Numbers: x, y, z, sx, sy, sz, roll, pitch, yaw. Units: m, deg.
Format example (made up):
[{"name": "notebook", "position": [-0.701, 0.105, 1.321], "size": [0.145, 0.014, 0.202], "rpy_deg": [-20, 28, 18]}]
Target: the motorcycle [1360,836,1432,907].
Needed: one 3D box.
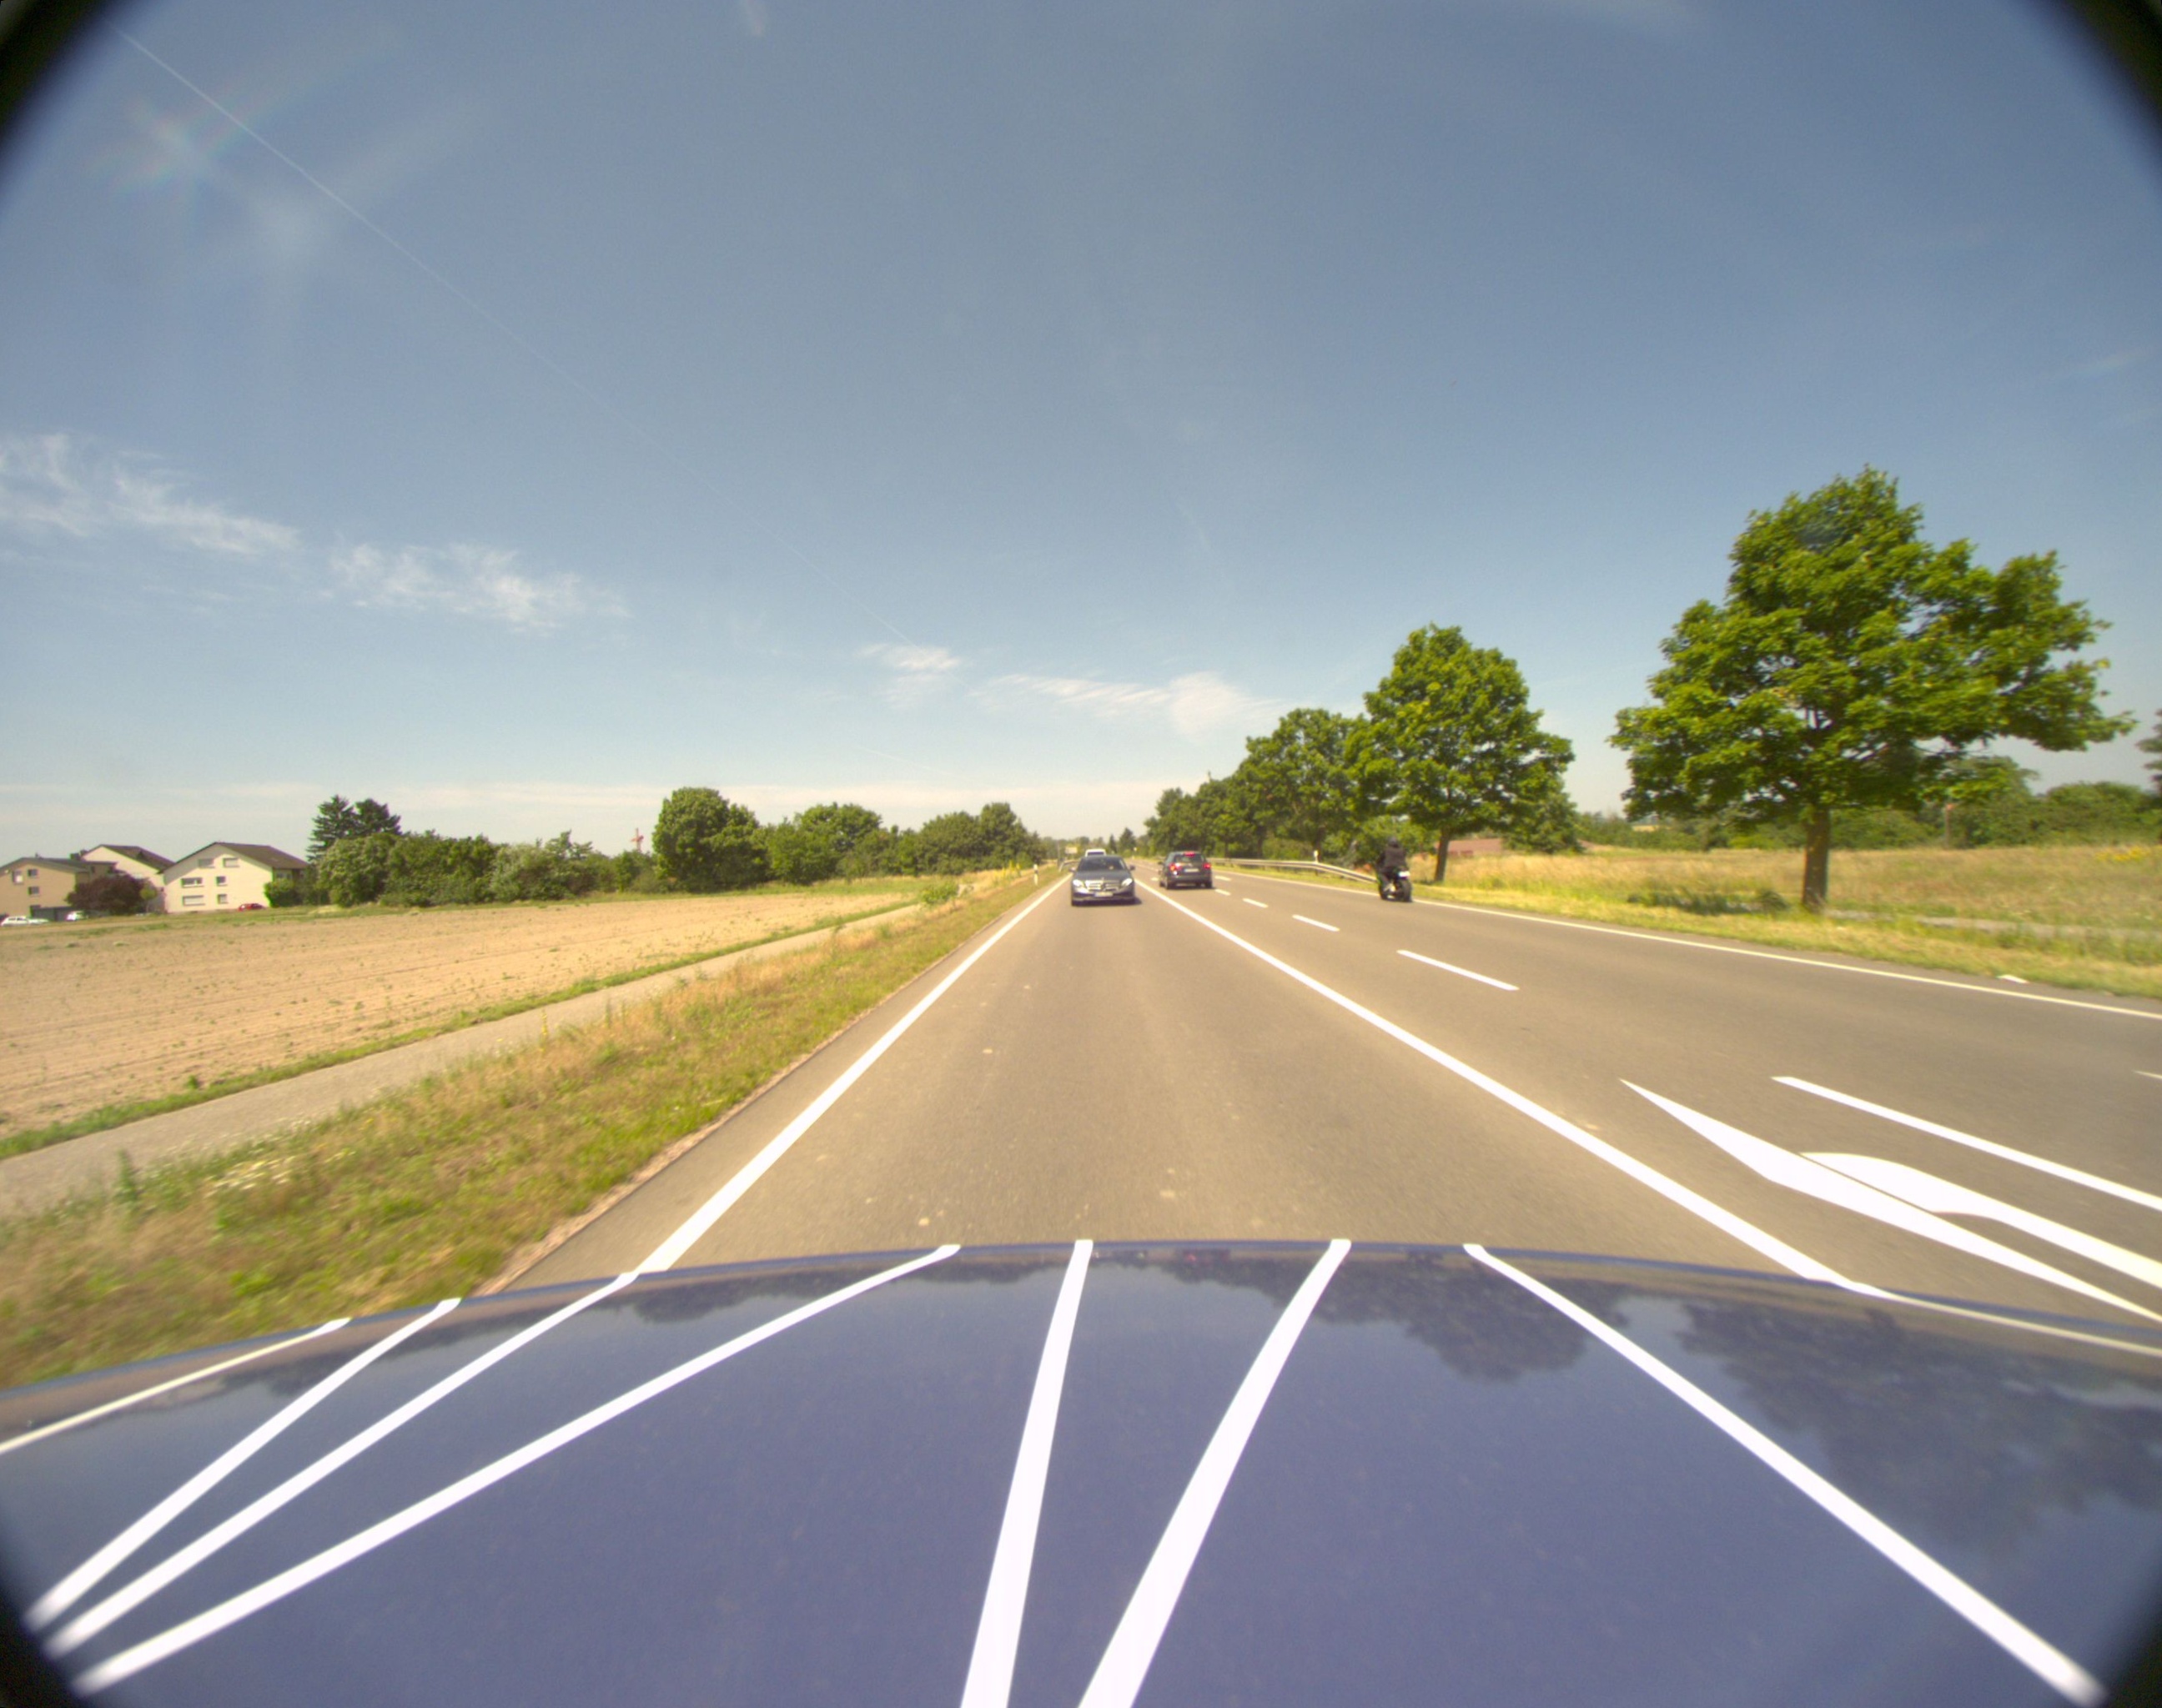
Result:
[{"name": "motorcycle", "position": [8.238, 0.424, 19.999], "size": [0.891, 1.733, 2.445], "rpy_deg": [-2, 1, 1]}]

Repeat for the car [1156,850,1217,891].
[{"name": "car", "position": [4.172, 0.605, 30.803], "size": [1.744, 1.465, 4.617], "rpy_deg": [-2, 0, -1]}]

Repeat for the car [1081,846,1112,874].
[{"name": "car", "position": [1.314, 0.437, 62.180], "size": [2.179, 2.002, 5.026], "rpy_deg": [-6, 0, 3]}]

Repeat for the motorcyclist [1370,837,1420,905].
[{"name": "motorcyclist", "position": [8.257, 0.433, 20.036], "size": [0.855, 1.711, 1.088], "rpy_deg": [-2, 1, 0]}]

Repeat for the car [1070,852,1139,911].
[{"name": "car", "position": [0.813, 0.763, 23.427], "size": [1.831, 1.540, 4.500], "rpy_deg": [-3, 0, 4]}]
